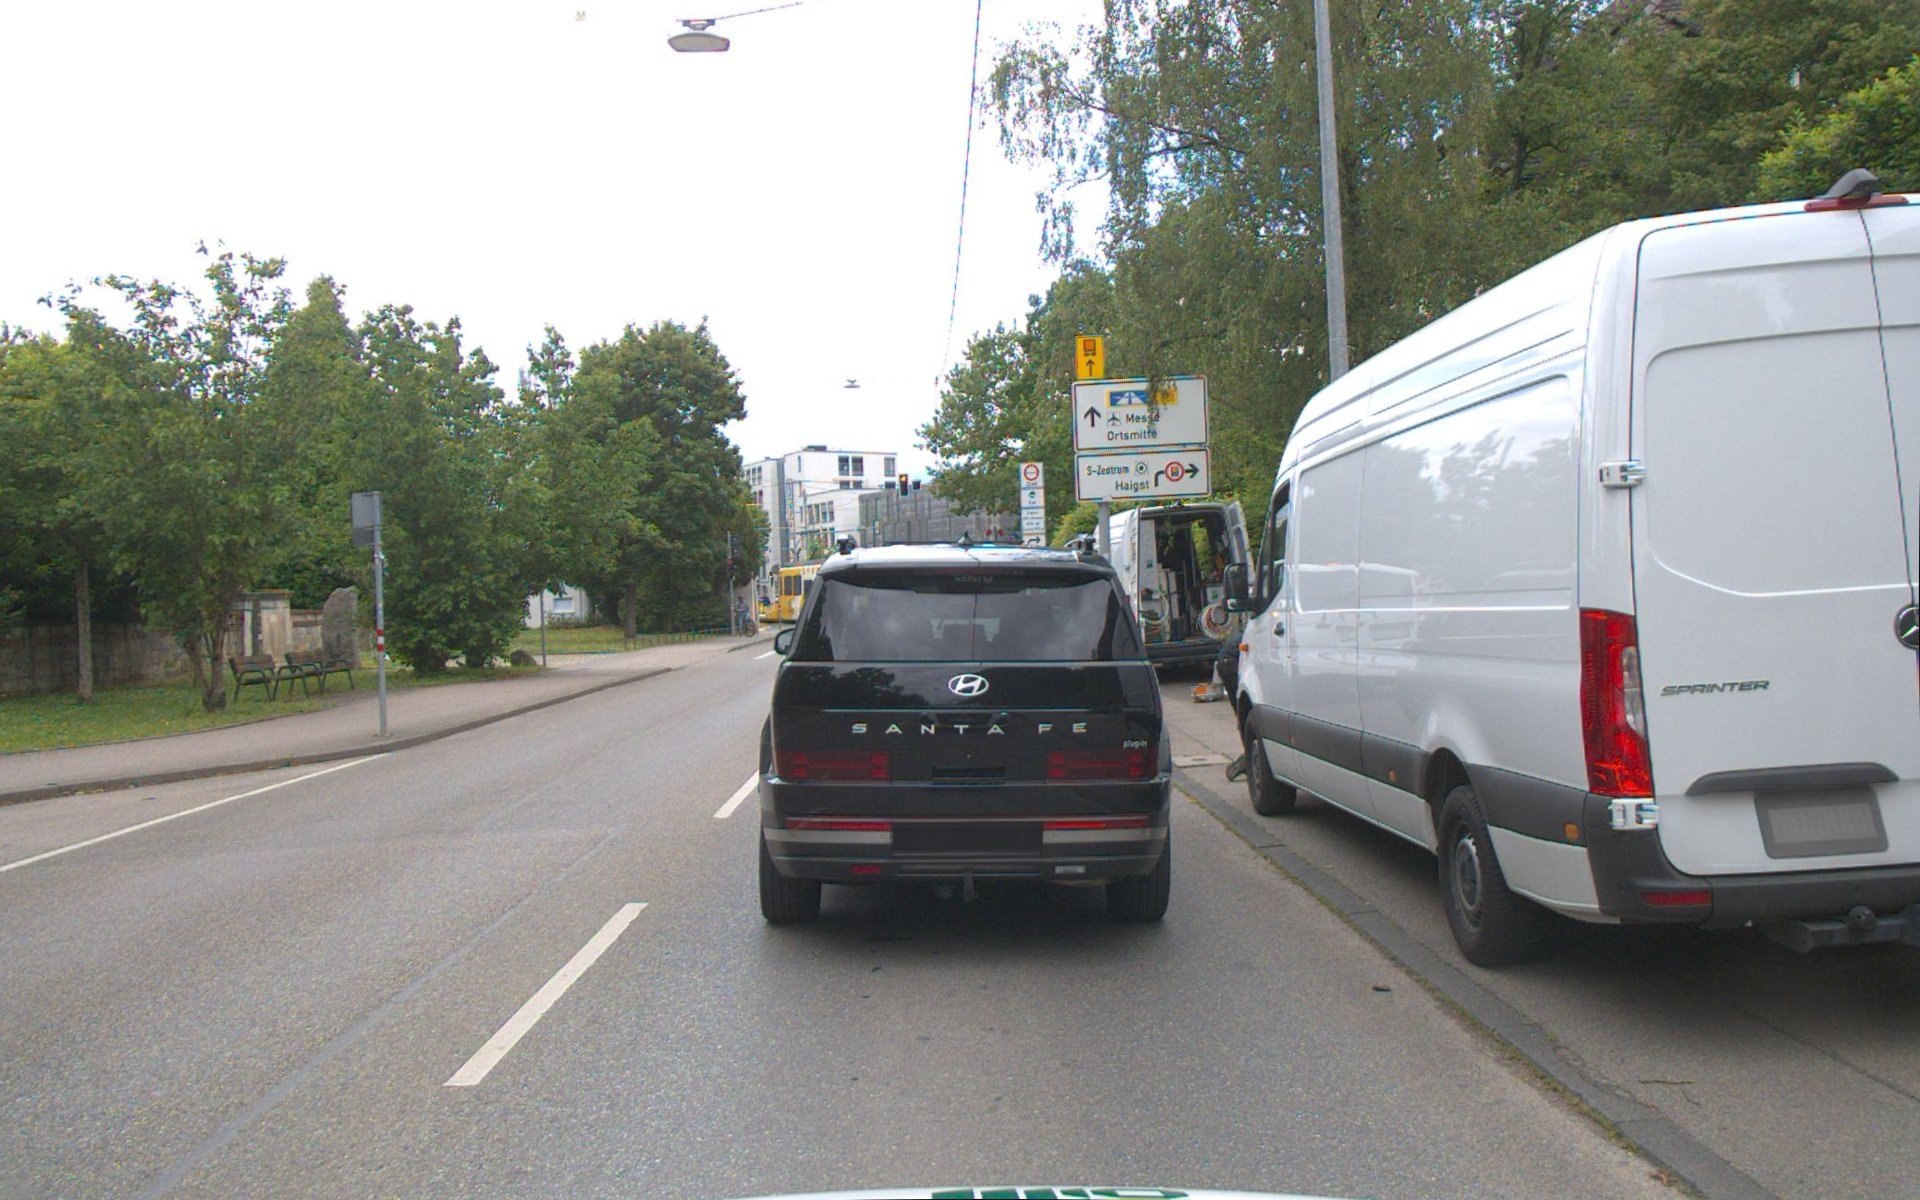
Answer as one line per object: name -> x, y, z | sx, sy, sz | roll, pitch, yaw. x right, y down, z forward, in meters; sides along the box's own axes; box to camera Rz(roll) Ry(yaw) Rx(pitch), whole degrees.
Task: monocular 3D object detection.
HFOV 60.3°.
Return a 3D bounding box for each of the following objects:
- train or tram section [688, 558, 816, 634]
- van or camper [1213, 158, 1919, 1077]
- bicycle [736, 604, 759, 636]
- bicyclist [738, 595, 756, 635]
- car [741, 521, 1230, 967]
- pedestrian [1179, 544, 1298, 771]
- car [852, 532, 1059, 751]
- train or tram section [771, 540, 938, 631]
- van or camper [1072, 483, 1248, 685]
train or tram section -> -14.515, -0.092, 113.187 | 3.153, 4.602, 18.530 | 0, -2, -25
van or camper -> 2.858, 0.002, 8.126 | 1.924, 2.673, 6.356 | -4, 0, -2
bicycle -> -9.022, 0.869, 70.068 | 0.664, 1.302, 2.491 | 0, -2, -14
bicyclist -> -9.022, 0.628, 70.104 | 0.664, 1.688, 0.855 | 0, -2, -15
car -> 0.052, 0.561, 8.566 | 1.924, 1.741, 3.999 | -1, 0, -2
pedestrian -> 2.274, 0.461, 13.540 | 0.609, 1.773, 0.601 | -5, 0, -24
car -> -0.096, 0.383, 17.546 | 1.924, 2.036, 3.999 | -1, 0, -2
train or tram section -> -6.548, -0.615, 96.420 | 3.153, 4.602, 18.530 | 0, -2, -25
van or camper -> 3.117, -0.247, 26.959 | 1.924, 2.845, 5.285 | -4, 0, -2
